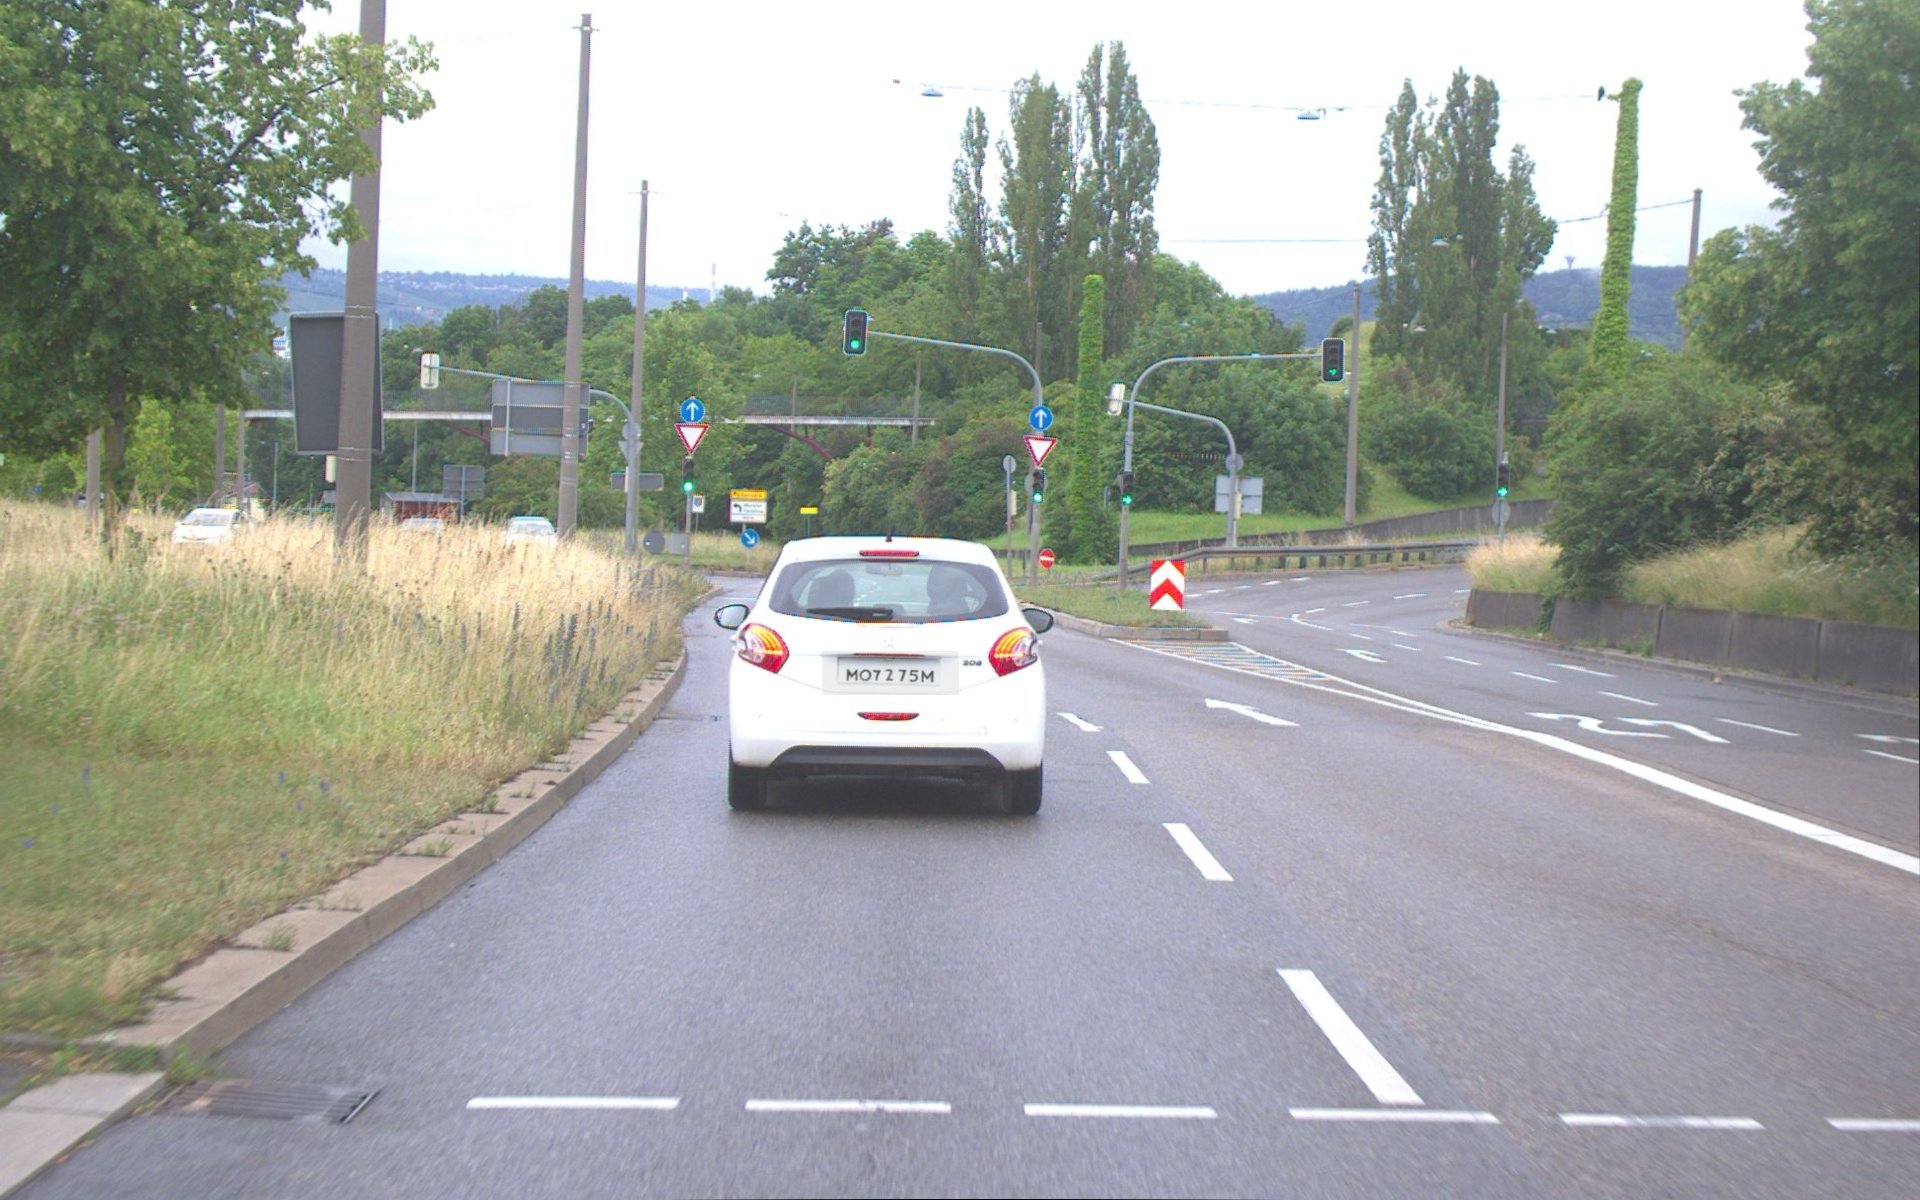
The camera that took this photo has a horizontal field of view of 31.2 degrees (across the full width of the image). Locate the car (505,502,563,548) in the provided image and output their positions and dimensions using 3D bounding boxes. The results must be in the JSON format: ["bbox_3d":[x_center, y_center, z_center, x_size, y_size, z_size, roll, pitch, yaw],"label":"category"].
[{"bbox_3d":[-13.726,-2.395,110.959,1.737,1.368,4.001,2,0,-6],"label":"car"}]

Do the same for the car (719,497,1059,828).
[{"bbox_3d":[-0.395,0.268,19.368,1.708,1.435,3.692,1,5,-1],"label":"car"}]

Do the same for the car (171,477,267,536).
[{"bbox_3d":[-22.635,-2.831,105.205,1.885,1.605,4.676,3,0,0],"label":"car"}]
